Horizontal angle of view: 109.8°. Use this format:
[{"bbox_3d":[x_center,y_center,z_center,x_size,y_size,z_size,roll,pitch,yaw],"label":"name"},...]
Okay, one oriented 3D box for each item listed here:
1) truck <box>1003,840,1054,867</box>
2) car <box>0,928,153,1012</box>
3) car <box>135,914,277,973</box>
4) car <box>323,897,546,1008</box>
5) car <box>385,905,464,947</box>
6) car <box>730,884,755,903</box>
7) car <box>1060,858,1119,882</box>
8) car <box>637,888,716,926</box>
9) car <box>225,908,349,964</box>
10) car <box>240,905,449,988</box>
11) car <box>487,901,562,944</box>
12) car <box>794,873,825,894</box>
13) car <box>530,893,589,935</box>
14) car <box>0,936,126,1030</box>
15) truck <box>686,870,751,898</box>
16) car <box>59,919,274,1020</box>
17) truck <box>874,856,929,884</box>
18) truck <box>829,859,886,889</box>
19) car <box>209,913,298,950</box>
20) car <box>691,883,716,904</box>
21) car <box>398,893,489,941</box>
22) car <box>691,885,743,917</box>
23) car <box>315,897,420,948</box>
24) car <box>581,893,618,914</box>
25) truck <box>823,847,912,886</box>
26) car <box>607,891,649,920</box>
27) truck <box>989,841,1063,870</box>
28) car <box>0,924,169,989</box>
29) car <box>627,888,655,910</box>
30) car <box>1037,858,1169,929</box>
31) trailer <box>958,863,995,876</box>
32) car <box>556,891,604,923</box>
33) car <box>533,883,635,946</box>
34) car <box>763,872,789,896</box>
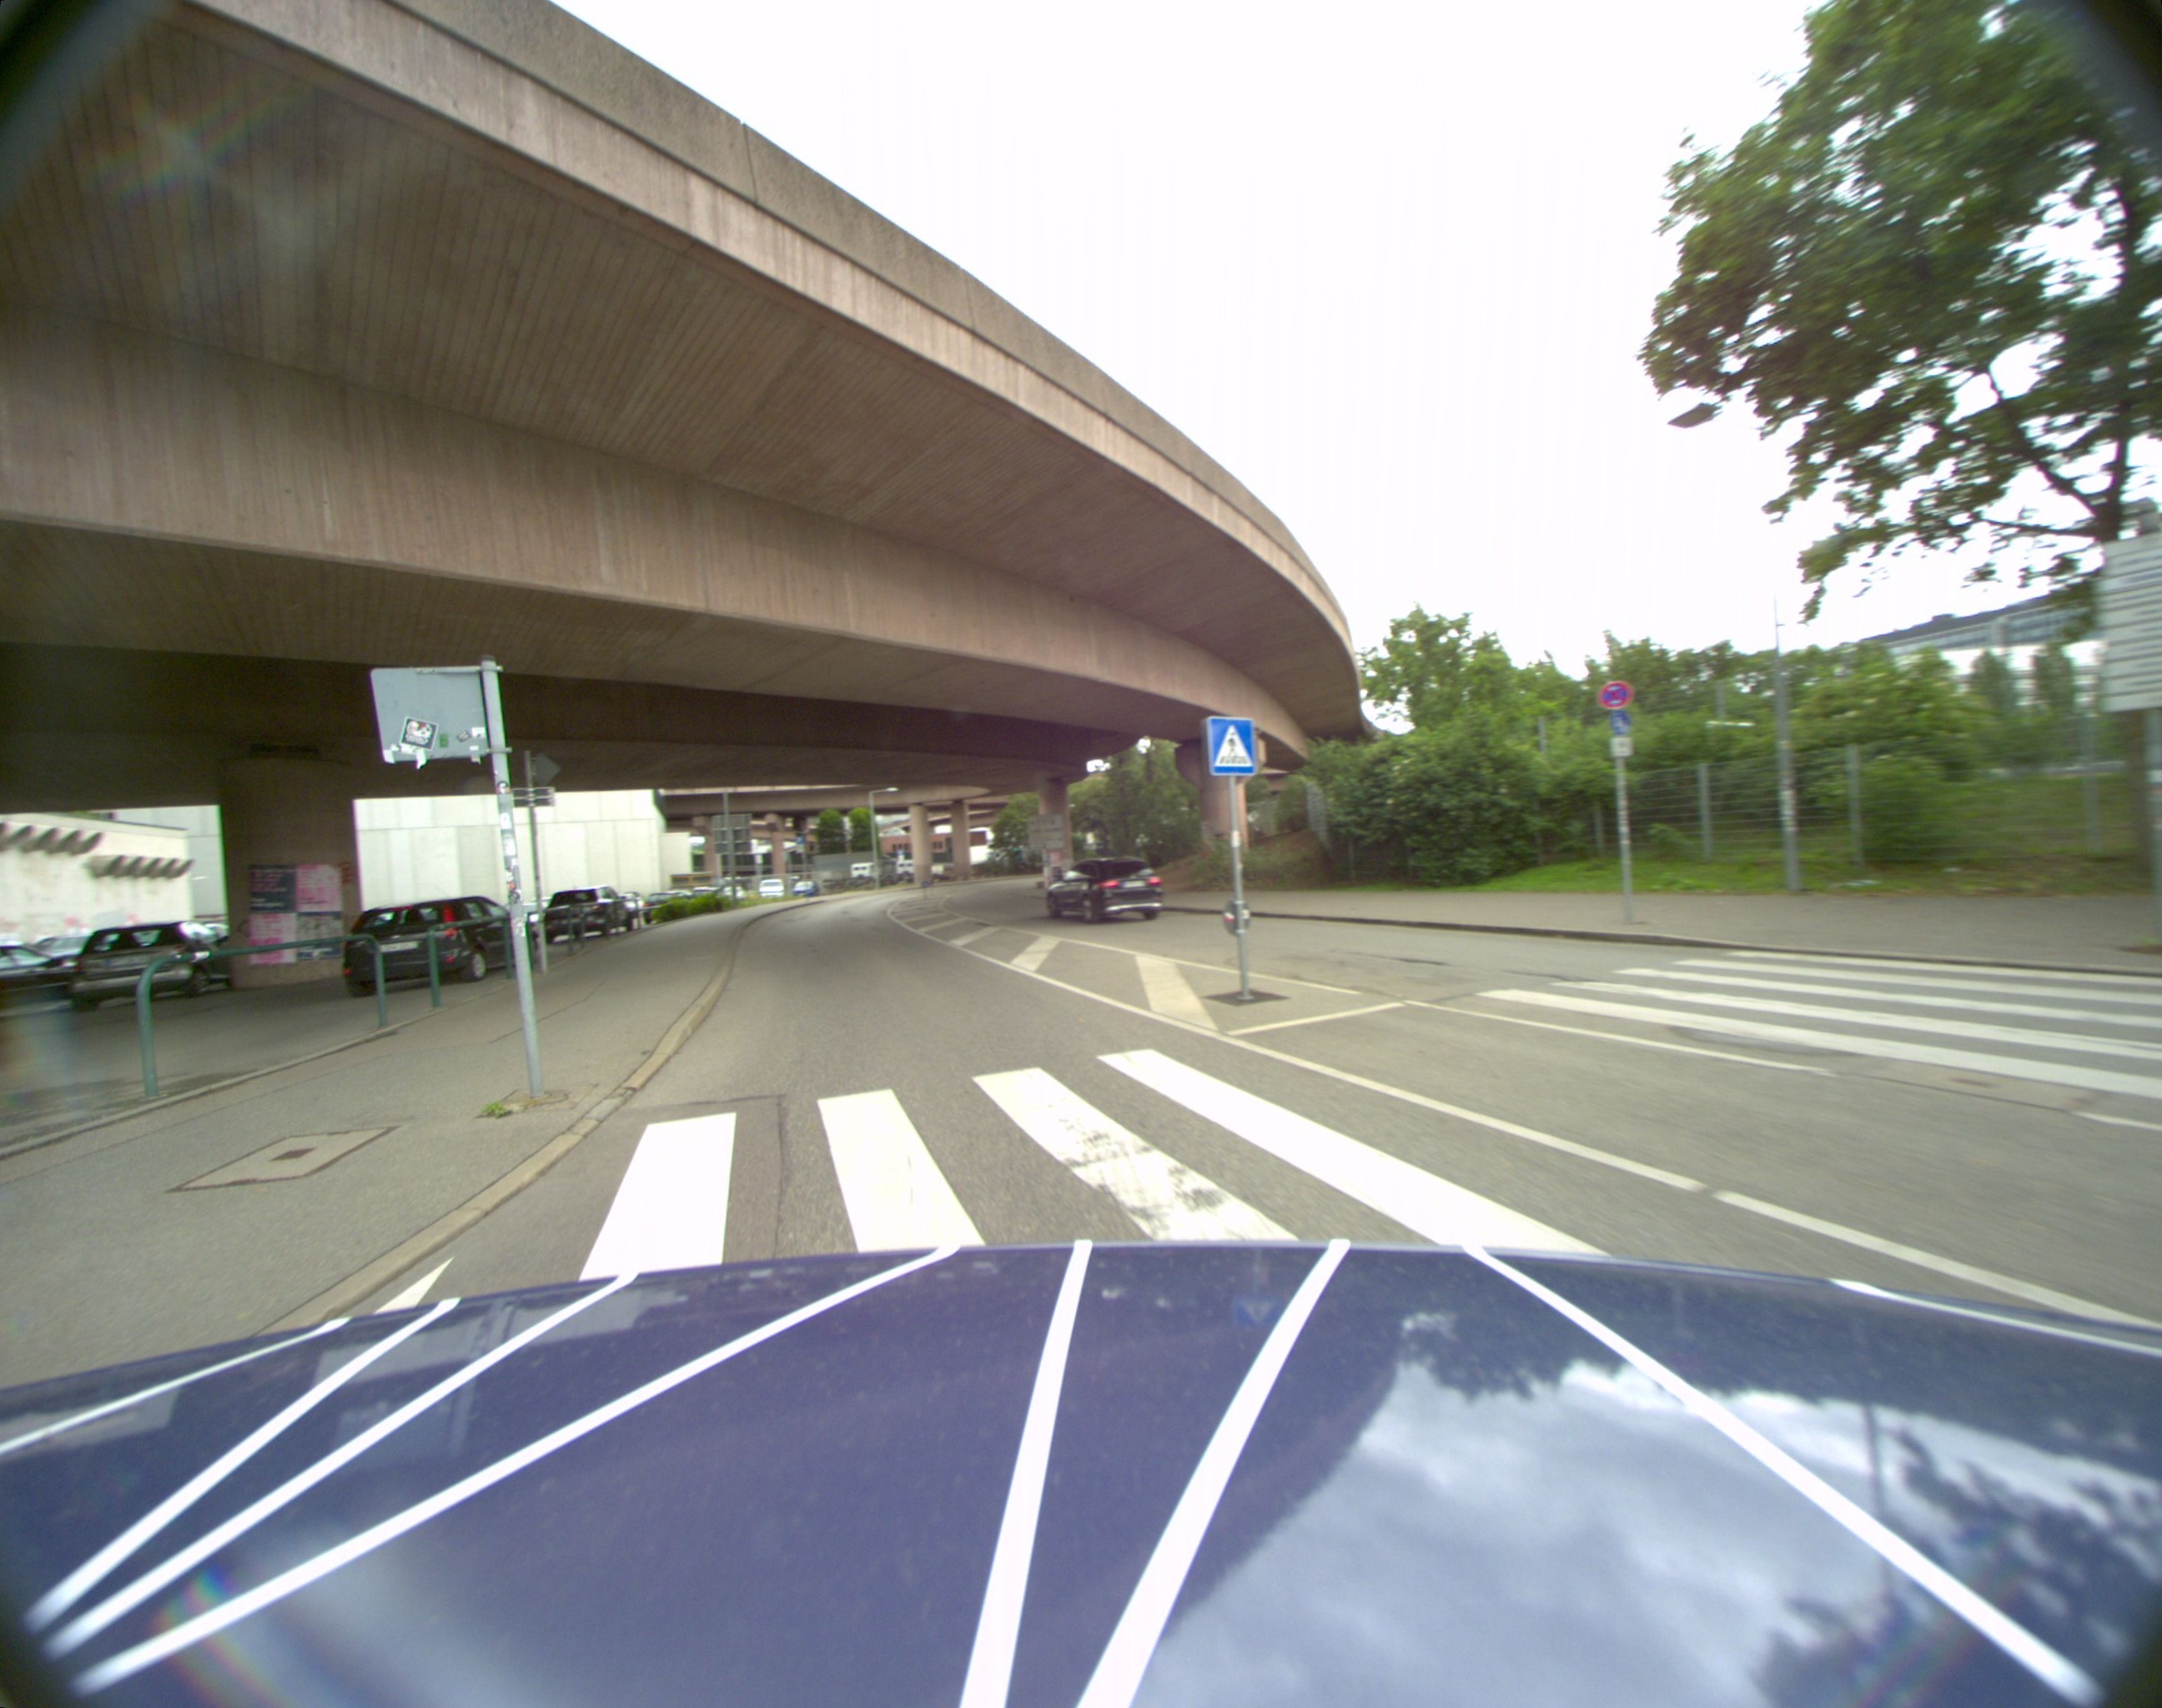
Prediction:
[{"bbox_3d":[-7.283,-0.041,105.565,6.418,3.389,2.266,-4,1,-22],"label":"truck"},{"bbox_3d":[-24.827,2.744,18.148,1.841,1.541,4.183,-4,0,-28],"label":"car"},{"bbox_3d":[-30.596,3.052,26.746,1.841,1.583,4.183,-4,0,-28],"label":"car"},{"bbox_3d":[-11.033,1.582,13.307,1.612,1.389,3.574,-6,0,-18],"label":"car"},{"bbox_3d":[-29.262,3.157,33.990,1.759,1.547,4.079,-4,0,-28],"label":"car"},{"bbox_3d":[-29.069,3.337,65.315,1.777,1.448,4.547,-3,0,-23],"label":"car"},{"bbox_3d":[0.702,1.240,58.802,1.824,1.422,4.782,-6,-2,41],"label":"car"},{"bbox_3d":[-19.500,2.511,36.863,1.735,1.470,4.248,-4,0,-5],"label":"car"},{"bbox_3d":[-28.852,2.918,27.786,1.841,1.583,4.183,-4,0,-28],"label":"car"},{"bbox_3d":[-19.101,2.318,19.991,1.790,1.498,3.856,-5,1,-5],"label":"car"},{"bbox_3d":[-22.811,2.773,31.306,1.841,1.413,4.183,-4,0,-28],"label":"car"},{"bbox_3d":[-24.376,2.614,68.402,1.775,1.625,4.682,-3,0,-9],"label":"car"},{"bbox_3d":[-24.867,2.808,36.345,1.748,1.665,4.461,-4,0,-28],"label":"car"},{"bbox_3d":[-20.149,2.461,13.629,1.840,1.461,4.372,-5,0,-24],"label":"car"},{"bbox_3d":[-44.579,3.711,93.711,6.936,2.915,3.046,-4,-1,-23],"label":"truck"},{"bbox_3d":[-18.392,2.241,15.504,1.532,1.491,3.368,-6,1,-28],"label":"car"},{"bbox_3d":[-19.811,1.751,84.352,2.420,2.727,7.244,-4,0,17],"label":"truck"},{"bbox_3d":[-24.258,2.144,82.862,2.453,2.869,6.128,-4,0,23],"label":"truck"},{"bbox_3d":[-42.434,3.949,39.067,1.771,1.524,3.968,-4,0,-28],"label":"car"},{"bbox_3d":[-31.853,3.332,64.163,1.778,1.578,4.353,-3,0,-26],"label":"car"},{"bbox_3d":[-24.969,2.401,29.907,1.841,1.583,4.183,-4,0,-28],"label":"car"},{"bbox_3d":[-19.737,2.515,41.286,1.544,1.470,2.760,-4,0,-5],"label":"car"},{"bbox_3d":[-27.084,2.530,29.016,1.841,1.583,4.183,-4,0,-28],"label":"car"},{"bbox_3d":[-37.881,3.865,59.865,1.777,1.375,4.353,-3,0,-25],"label":"car"},{"bbox_3d":[-27.299,1.569,97.189,10.147,4.340,3.907,-4,-1,-26],"label":"truck"},{"bbox_3d":[-27.862,3.134,46.851,1.861,1.466,4.678,-4,0,-28],"label":"car"},{"bbox_3d":[-7.828,0.186,108.987,10.227,3.478,2.266,-4,1,-25],"label":"truck"},{"bbox_3d":[-33.040,3.326,25.351,1.841,1.583,4.183,-4,0,-28],"label":"car"},{"bbox_3d":[-35.321,3.614,61.079,1.625,1.535,3.092,-3,0,-25],"label":"car"},{"bbox_3d":[0.426,0.986,20.360,1.847,1.565,4.542,-4,0,-21],"label":"car"},{"bbox_3d":[-12.427,1.838,90.678,1.601,1.324,4.390,-2,1,38],"label":"trailer"},{"bbox_3d":[-30.086,3.148,45.754,1.861,1.618,4.611,-4,0,-28],"label":"car"},{"bbox_3d":[-14.876,1.751,22.950,1.612,1.524,3.405,-6,0,-18],"label":"car"},{"bbox_3d":[-27.116,2.668,67.674,1.895,1.945,4.673,-3,0,-19],"label":"car"}]
